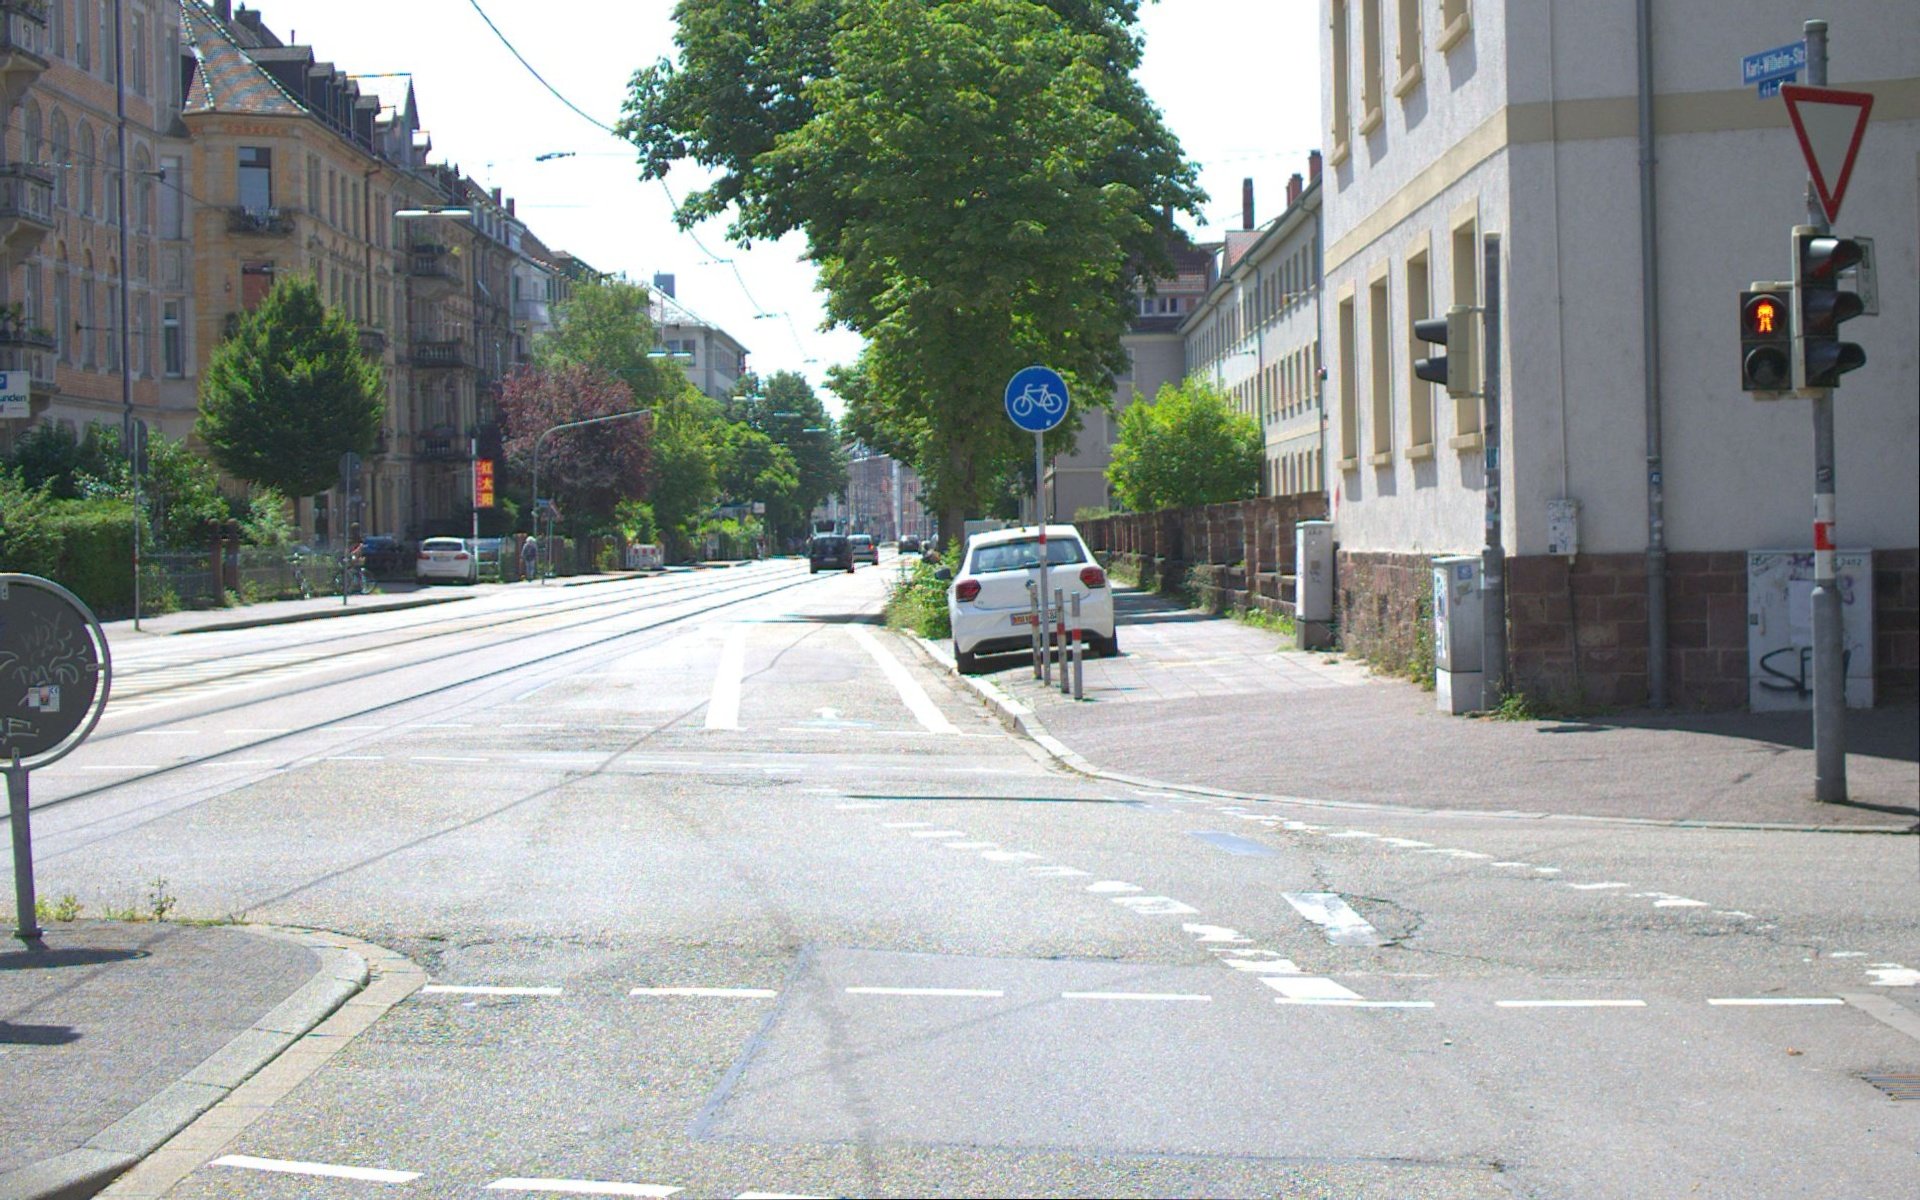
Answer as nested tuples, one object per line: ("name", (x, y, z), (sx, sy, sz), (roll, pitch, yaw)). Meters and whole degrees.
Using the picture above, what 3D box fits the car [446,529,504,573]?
("car", (-17.475, -1.756, 123.990), (1.628, 1.467, 3.564), (-4, 1, -3))

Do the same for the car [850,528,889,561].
("car", (-4.422, -2.731, 168.552), (1.747, 1.467, 3.938), (-4, 1, -1))

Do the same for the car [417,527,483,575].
("car", (-17.136, -1.640, 115.641), (1.684, 1.467, 3.939), (-4, 1, -3))

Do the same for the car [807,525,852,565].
("car", (-5.042, -2.130, 132.912), (1.525, 1.439, 3.365), (-3, 1, 0))

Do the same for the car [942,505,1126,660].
("car", (0.746, -0.206, 37.124), (1.747, 1.467, 3.938), (-4, 1, -1))

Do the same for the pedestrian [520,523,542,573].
("pedestrian", (-15.005, -1.824, 120.226), (0.678, 1.721, 0.677), (0, 1, -1))

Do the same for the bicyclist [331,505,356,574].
("bicyclist", (-15.763, -1.541, 87.936), (0.542, 1.757, 0.498), (0, 1, -1))

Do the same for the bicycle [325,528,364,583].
("bicycle", (-15.763, -1.131, 88.028), (0.577, 1.383, 2.501), (0, 1, -1))
